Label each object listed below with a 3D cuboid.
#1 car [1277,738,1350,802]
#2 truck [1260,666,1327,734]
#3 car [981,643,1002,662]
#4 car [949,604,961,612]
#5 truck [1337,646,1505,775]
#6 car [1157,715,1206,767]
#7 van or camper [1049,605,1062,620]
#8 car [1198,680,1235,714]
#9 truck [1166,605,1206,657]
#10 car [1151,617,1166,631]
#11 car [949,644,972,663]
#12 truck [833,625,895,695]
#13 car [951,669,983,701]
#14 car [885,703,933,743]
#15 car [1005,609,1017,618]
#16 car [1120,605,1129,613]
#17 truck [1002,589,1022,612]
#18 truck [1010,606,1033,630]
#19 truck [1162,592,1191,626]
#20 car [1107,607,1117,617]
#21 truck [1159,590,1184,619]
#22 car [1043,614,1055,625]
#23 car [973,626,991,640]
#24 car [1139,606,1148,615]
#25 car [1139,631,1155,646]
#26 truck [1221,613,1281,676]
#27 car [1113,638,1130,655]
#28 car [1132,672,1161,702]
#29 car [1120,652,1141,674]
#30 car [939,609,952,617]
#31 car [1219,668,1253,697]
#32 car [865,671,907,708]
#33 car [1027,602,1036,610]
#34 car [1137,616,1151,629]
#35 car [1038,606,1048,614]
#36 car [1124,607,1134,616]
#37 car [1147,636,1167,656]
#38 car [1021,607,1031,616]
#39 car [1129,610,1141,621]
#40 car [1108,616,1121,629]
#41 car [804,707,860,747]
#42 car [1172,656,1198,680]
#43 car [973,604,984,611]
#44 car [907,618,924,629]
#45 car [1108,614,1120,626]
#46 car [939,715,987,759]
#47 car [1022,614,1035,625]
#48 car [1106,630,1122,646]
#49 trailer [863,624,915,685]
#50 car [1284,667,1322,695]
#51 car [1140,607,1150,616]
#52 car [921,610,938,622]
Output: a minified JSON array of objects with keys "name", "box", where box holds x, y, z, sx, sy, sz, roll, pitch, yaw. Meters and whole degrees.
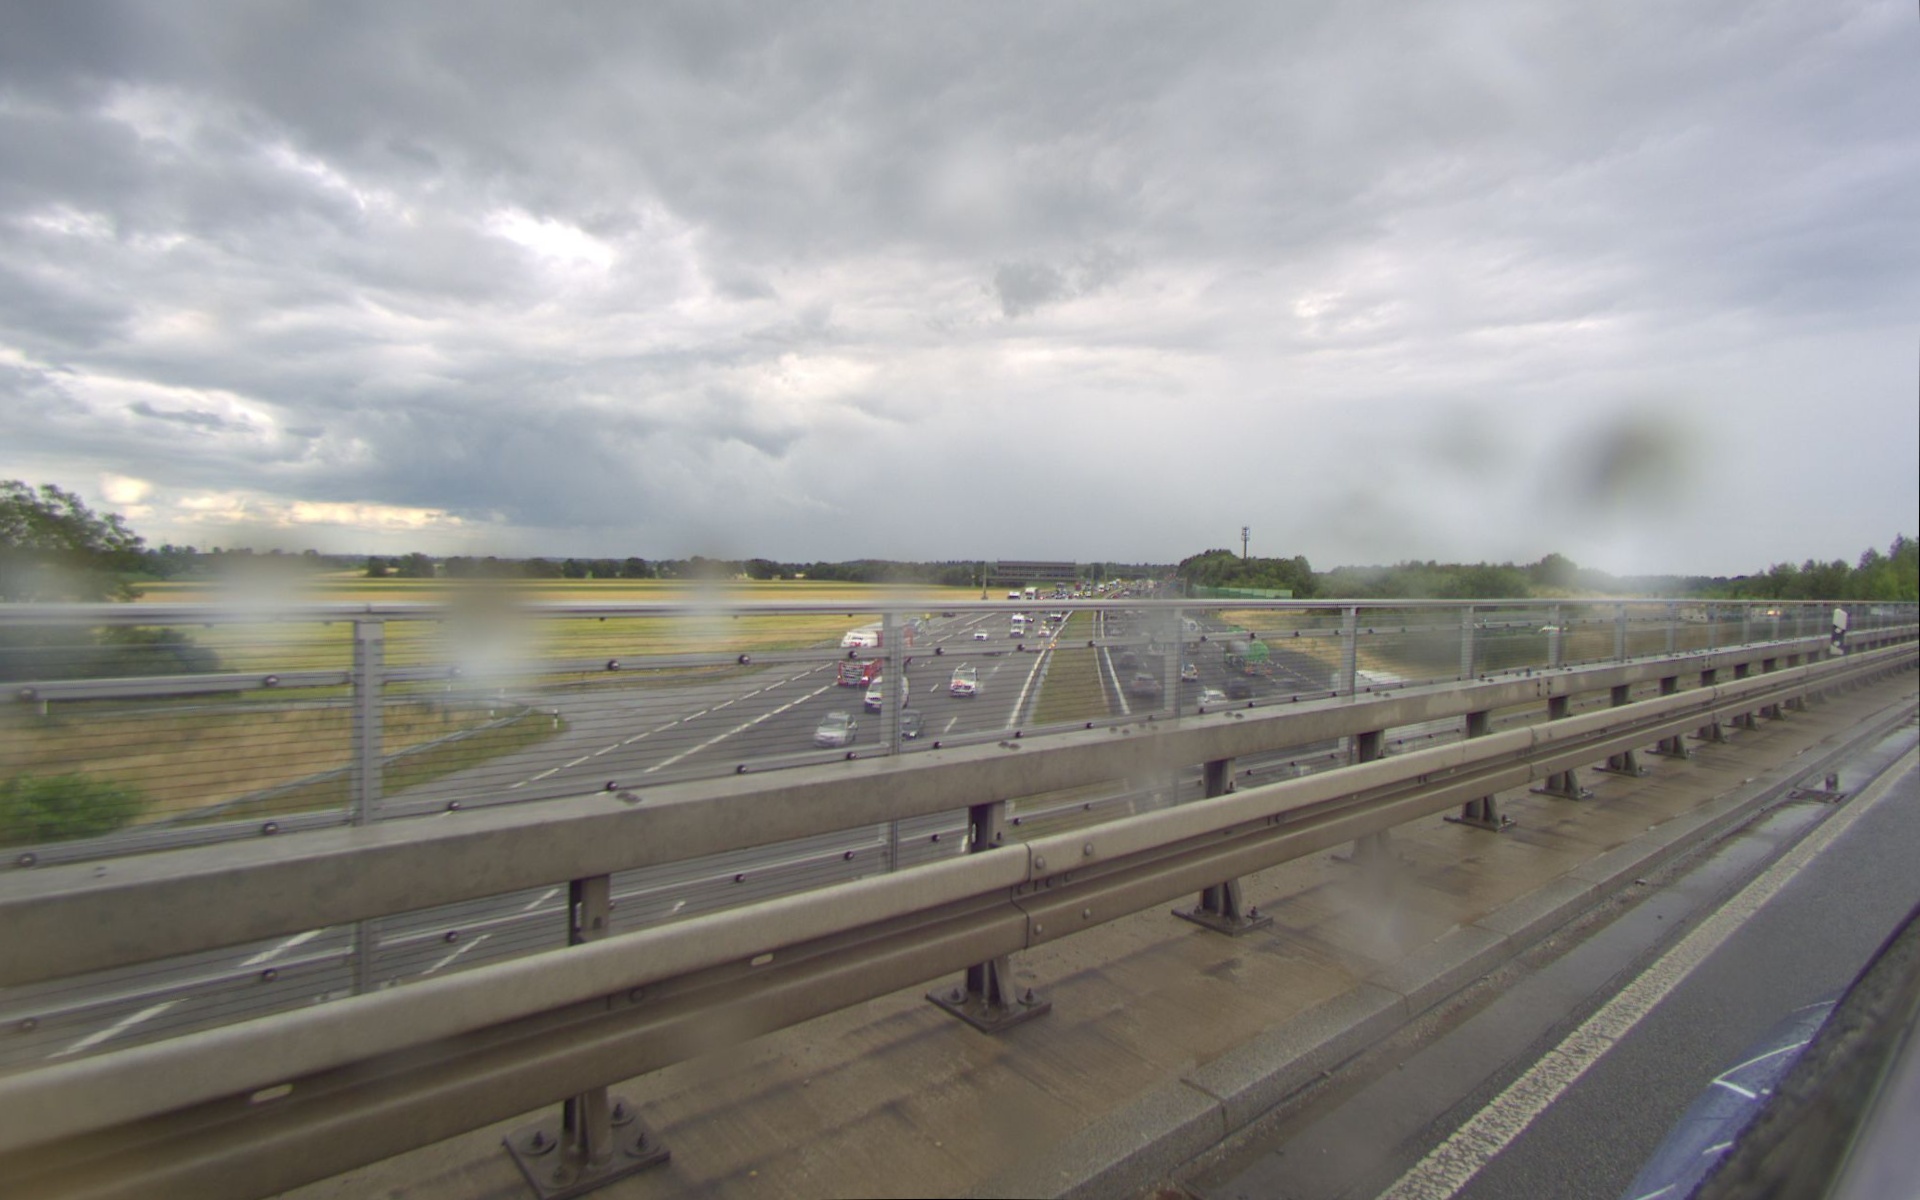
[{"name":"car","box":[13.968,6.679,40.203,1.826,1.690,4.714,0,1,8]},{"name":"truck","box":[19.697,5.801,60.235,2.175,3.003,9.288,0,1,8]},{"name":"car","box":[3.431,5.650,109.309,1.784,1.690,4.714,0,1,8]},{"name":"car","box":[-0.905,1.586,196.377,1.783,1.454,4.716,0,1,7]},{"name":"truck","box":[22.676,5.106,51.227,3.544,4.594,15.592,0,1,9]},{"name":"car","box":[10.283,6.539,47.235,1.826,1.690,4.714,0,1,8]},{"name":"van or camper","box":[17.759,2.290,187.824,2.025,2.481,7.314,0,1,8]},{"name":"car","box":[16.812,6.338,66.425,1.826,1.690,4.714,0,1,8]},{"name":"truck","box":[26.841,3.496,120.989,3.240,5.510,15.598,0,1,7]},{"name":"car","box":[27.886,3.399,142.168,1.826,1.796,4.714,0,1,8]},{"name":"car","box":[0.054,5.640,106.234,1.784,1.690,4.714,0,1,8]},{"name":"truck","box":[-7.328,4.501,78.781,2.641,4.684,9.734,0,1,7]},{"name":"car","box":[0.559,6.117,73.377,1.783,1.870,4.716,0,1,7]},{"name":"car","box":[-2.660,6.540,54.177,1.783,1.454,4.716,0,1,7]},{"name":"car","box":[9.654,2.527,189.539,1.826,1.690,4.714,0,1,8]},{"name":"car","box":[37.886,2.006,233.137,1.826,1.796,4.714,0,1,8]},{"name":"truck","box":[11.946,0.051,230.558,2.750,4.961,12.714,0,1,11]},{"name":"truck","box":[9.010,2.529,147.655,2.553,3.219,8.377,0,1,8]},{"name":"truck","box":[36.599,1.423,171.761,3.434,5.419,15.598,0,1,7]},{"name":"car","box":[30.345,2.432,202.409,1.826,1.796,4.714,0,1,8]},{"name":"truck","box":[40.894,0.741,195.959,3.434,5.419,15.598,0,1,7]},{"name":"car","box":[14.685,3.199,167.070,1.826,1.690,4.714,0,1,8]},{"name":"car","box":[2.963,4.337,134.790,1.784,1.690,4.714,0,1,8]},{"name":"car","box":[39.939,2.228,220.256,1.826,1.796,4.714,0,1,8]},{"name":"car","box":[24.357,5.026,132.008,1.826,1.796,4.714,0,1,8]},{"name":"truck","box":[28.388,4.136,99.504,3.240,5.229,15.598,0,1,7]},{"name":"car","box":[18.138,5.190,113.883,1.826,1.690,4.714,0,1,8]},{"name":"car","box":[13.406,6.238,72.882,1.826,1.690,4.714,0,1,8]},{"name":"car","box":[15.871,5.871,94.308,1.826,1.690,4.714,0,1,8]},{"name":"car","box":[-2.593,2.368,185.272,1.783,1.454,4.716,0,1,7]},{"name":"car","box":[20.775,6.193,76.277,1.826,1.690,4.714,0,1,8]},{"name":"car","box":[-4.712,5.710,64.963,1.783,1.907,4.716,0,1,7]},{"name":"car","box":[16.188,1.451,228.920,1.826,1.690,4.714,0,1,8]},{"name":"car","box":[27.033,3.266,149.140,1.826,1.796,4.714,0,1,8]},{"name":"car","box":[17.802,2.194,217.704,1.826,1.690,4.714,0,1,8]},{"name":"car","box":[35.483,2.328,212.287,1.826,1.796,4.714,0,1,8]},{"name":"car","box":[20.849,4.861,107.155,1.826,1.796,4.714,0,1,8]},{"name":"car","box":[13.322,2.302,204.125,1.826,1.690,4.714,0,1,8]},{"name":"car","box":[31.773,2.754,183.842,1.826,1.796,4.714,0,1,8]},{"name":"car","box":[22.660,3.298,148.897,1.826,1.796,4.714,0,1,8]},{"name":"car","box":[-6.602,6.561,52.639,1.783,1.454,4.716,0,1,7]},{"name":"car","box":[19.177,5.792,86.387,1.826,1.690,4.714,0,1,8]},{"name":"car","box":[4.038,1.655,218.346,1.783,1.454,4.716,0,1,7]},{"name":"car","box":[-6.481,3.357,147.056,1.783,1.454,4.716,0,1,7]},{"name":"car","box":[24.668,3.244,162.450,1.826,1.796,4.714,0,1,8]},{"name":"car","box":[0.213,6.584,49.059,1.783,1.454,4.716,0,1,7]},{"name":"car","box":[11.543,3.210,170.717,1.784,1.690,4.714,0,1,8]},{"name":"car","box":[19.462,4.803,127.942,1.826,1.796,4.714,0,1,8]},{"name":"trailer","box":[-6.075,4.599,88.519,2.641,4.687,9.889,0,1,7]},{"name":"car","box":[26.175,6.163,77.376,1.826,1.690,4.714,0,1,8]},{"name":"car","box":[36.870,2.307,202.077,1.826,1.796,4.714,0,1,8]},{"name":"car","box":[-4.735,2.461,158.566,1.826,1.690,4.714,0,1,8]}]
